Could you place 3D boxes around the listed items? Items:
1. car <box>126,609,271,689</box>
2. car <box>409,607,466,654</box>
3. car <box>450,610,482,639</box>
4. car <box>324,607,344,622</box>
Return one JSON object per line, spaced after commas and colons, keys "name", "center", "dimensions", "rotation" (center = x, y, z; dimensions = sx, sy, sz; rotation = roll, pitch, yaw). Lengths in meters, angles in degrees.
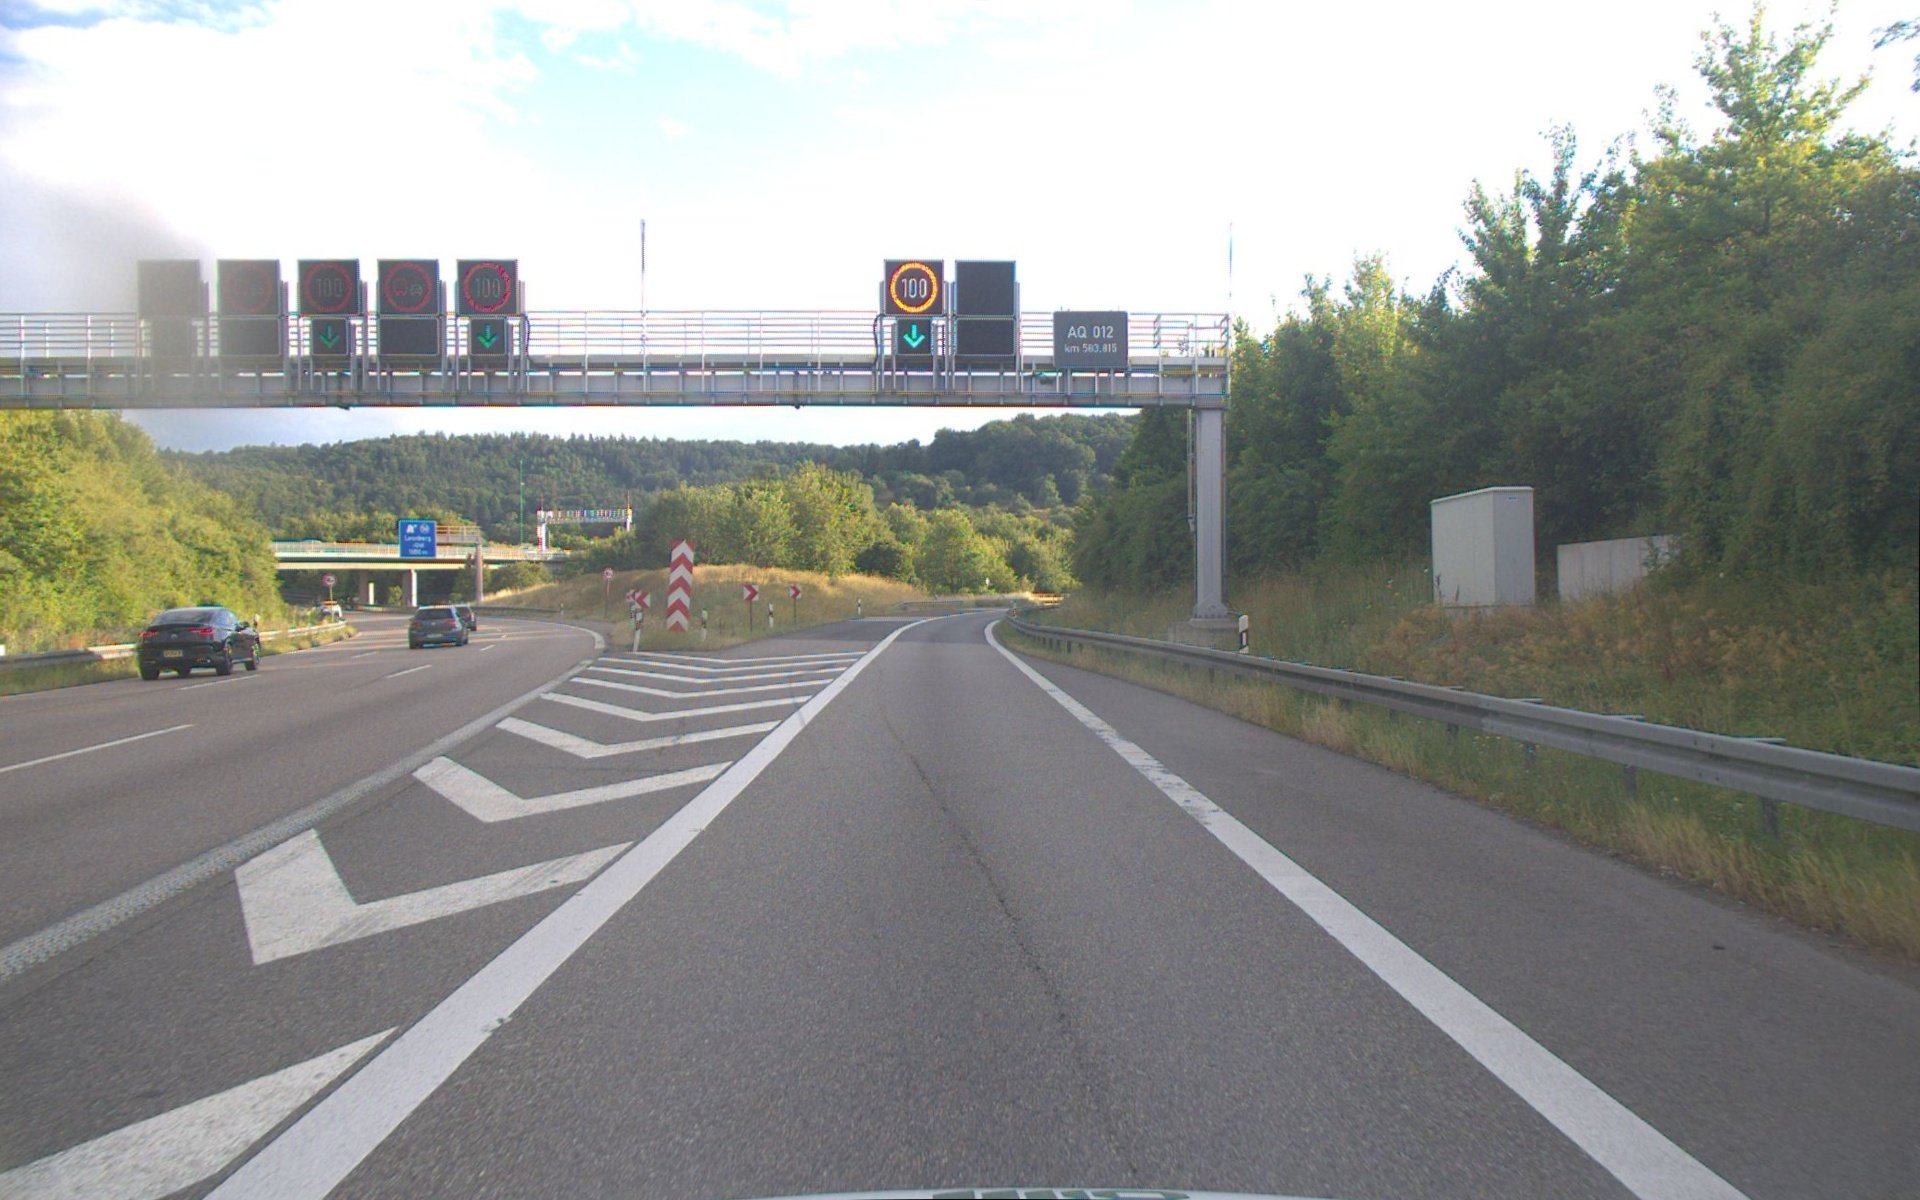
{"name": "car", "center": [-17.922, 1.100, 39.123], "dimensions": [1.797, 1.664, 3.995], "rotation": [-4, 0, -5]}
{"name": "car", "center": [-17.880, 1.029, 56.725], "dimensions": [1.709, 1.492, 3.771], "rotation": [-2, 0, -16]}
{"name": "car", "center": [-26.935, 1.315, 90.167], "dimensions": [1.579, 1.492, 3.510], "rotation": [-3, 0, -17]}
{"name": "car", "center": [-64.702, 1.491, 170.836], "dimensions": [1.715, 1.492, 3.611], "rotation": [-2, 0, -24]}
